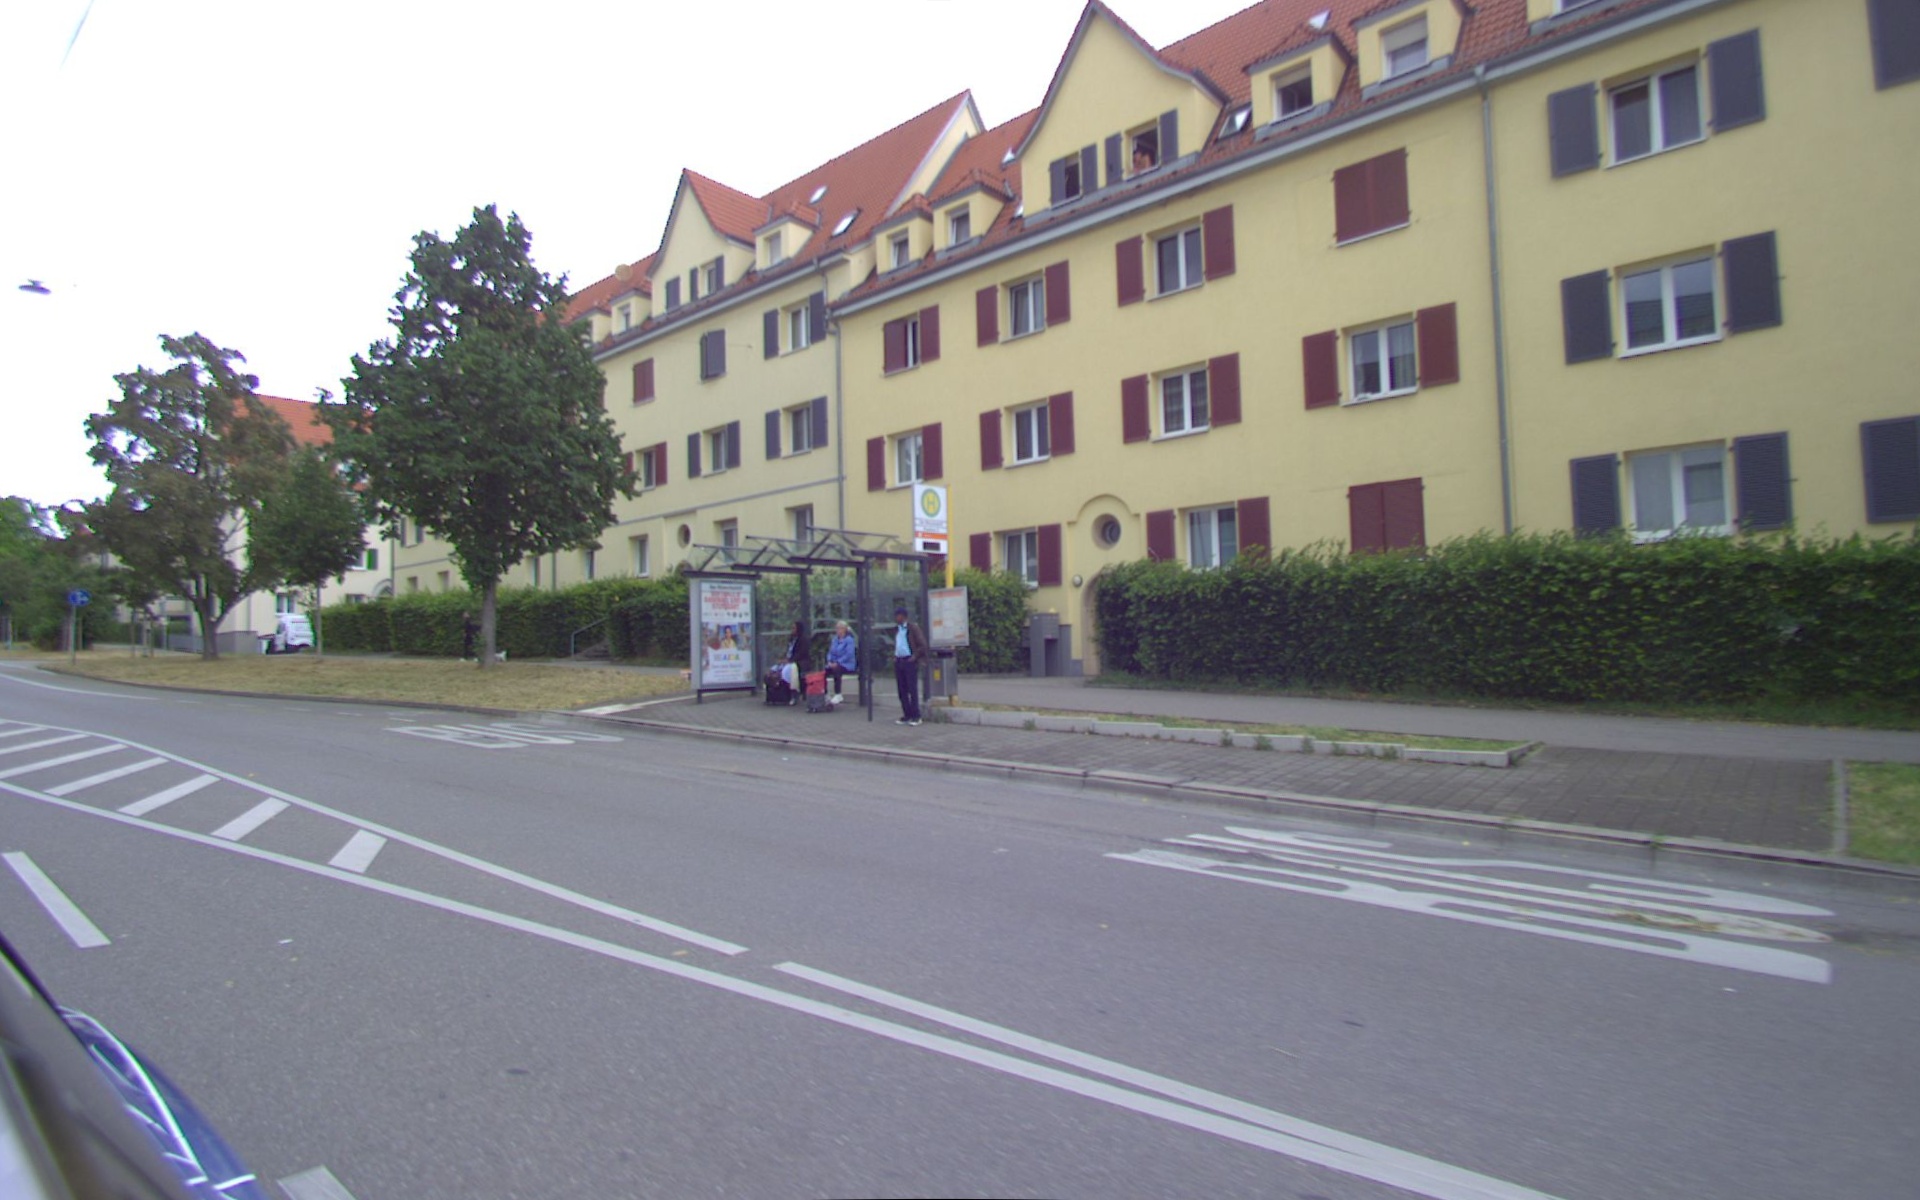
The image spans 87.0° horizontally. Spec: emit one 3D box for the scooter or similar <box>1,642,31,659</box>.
[{"bbox_3d":[-61.880,3.288,66.334,0.466,1.094,1.357,-2,-3,36],"label":"scooter or similar"}]

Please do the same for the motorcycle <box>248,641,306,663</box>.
[{"bbox_3d":[-39.587,3.013,58.663,2.561,1.288,1.020,1,-2,-16],"label":"motorcycle"}]

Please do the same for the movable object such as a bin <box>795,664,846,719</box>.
[{"bbox_3d":[-2.332,1.520,16.900,0.665,0.852,0.531,-2,-1,42],"label":"movable object such as a bin"}]

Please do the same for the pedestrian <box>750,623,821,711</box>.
[{"bbox_3d":[-3.079,1.164,17.862,0.806,1.485,0.890,-2,-1,41],"label":"pedestrian"}]

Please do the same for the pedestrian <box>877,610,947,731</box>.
[{"bbox_3d":[-0.716,1.034,15.107,0.861,1.740,0.591,-2,-2,43],"label":"pedestrian"}]

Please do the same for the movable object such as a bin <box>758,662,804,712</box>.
[{"bbox_3d":[-3.140,1.516,17.756,0.665,0.832,0.459,-2,-1,42],"label":"movable object such as a bin"}]

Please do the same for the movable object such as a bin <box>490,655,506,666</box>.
[{"bbox_3d":[-15.603,2.035,34.170,0.303,0.350,0.582,1,-2,-44],"label":"movable object such as a bin"}]

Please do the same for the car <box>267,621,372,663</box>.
[{"bbox_3d":[-36.274,2.380,57.388,1.994,2.270,4.668,-2,-3,41],"label":"car"}]

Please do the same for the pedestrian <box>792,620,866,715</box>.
[{"bbox_3d":[-2.197,1.110,16.995,0.806,1.521,0.890,-2,-1,41],"label":"pedestrian"}]

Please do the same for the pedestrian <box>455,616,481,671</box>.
[{"bbox_3d":[-16.340,1.439,33.614,0.753,1.793,0.508,-2,-2,40],"label":"pedestrian"}]
